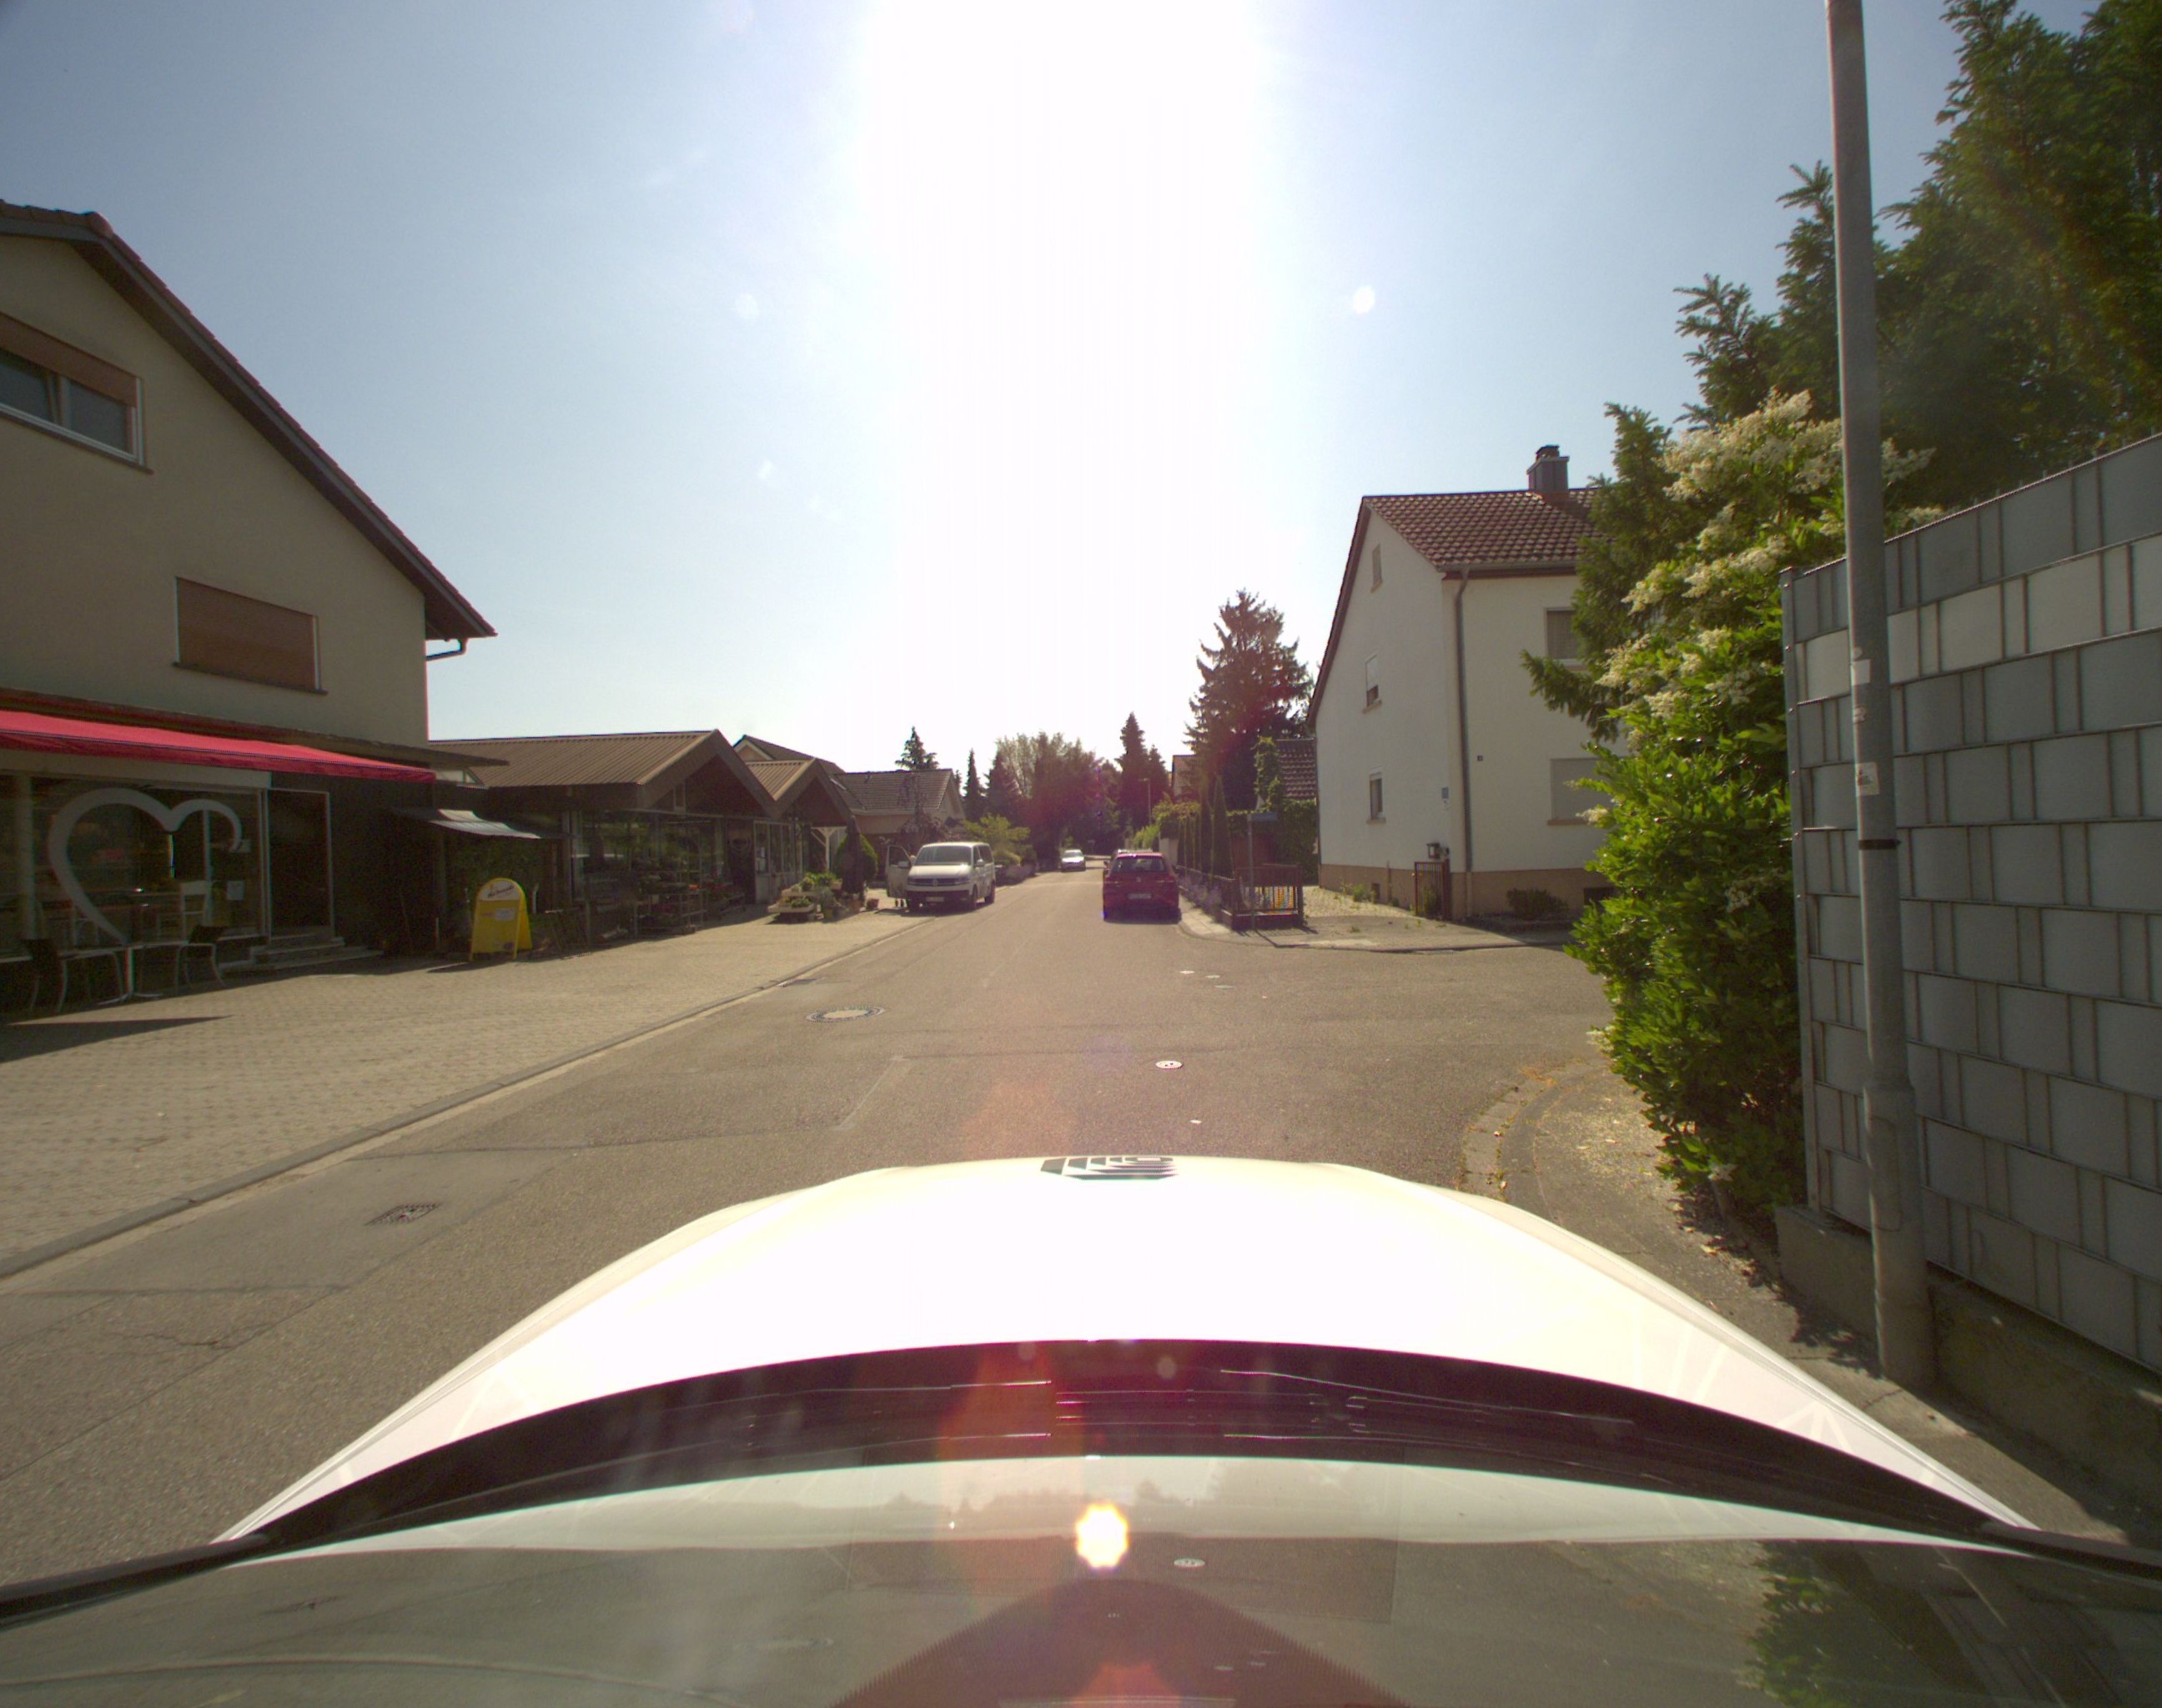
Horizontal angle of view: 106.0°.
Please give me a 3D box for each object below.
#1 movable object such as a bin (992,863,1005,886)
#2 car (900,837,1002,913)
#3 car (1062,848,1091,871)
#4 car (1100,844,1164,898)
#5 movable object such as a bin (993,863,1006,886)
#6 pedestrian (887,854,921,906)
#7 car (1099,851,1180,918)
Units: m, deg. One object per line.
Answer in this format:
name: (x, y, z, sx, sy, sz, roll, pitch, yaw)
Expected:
movable object such as a bin: (-3.814, 0.947, 37.670, 0.492, 1.024, 0.448, -2, 0, 2)
car: (-3.762, 0.559, 24.540, 1.920, 2.013, 4.901, -2, 0, 4)
car: (-0.280, 0.369, 57.522, 1.745, 1.487, 4.379, -2, 0, 3)
car: (1.603, 0.523, 26.874, 1.817, 1.615, 3.999, -1, 0, -1)
movable object such as a bin: (-3.802, 0.949, 38.159, 0.492, 1.024, 0.448, -2, 0, 2)
pedestrian: (-5.318, 0.772, 24.422, 0.710, 1.538, 0.646, -1, 1, 35)
car: (1.486, 0.660, 20.058, 1.767, 1.479, 4.006, 0, 0, 5)
